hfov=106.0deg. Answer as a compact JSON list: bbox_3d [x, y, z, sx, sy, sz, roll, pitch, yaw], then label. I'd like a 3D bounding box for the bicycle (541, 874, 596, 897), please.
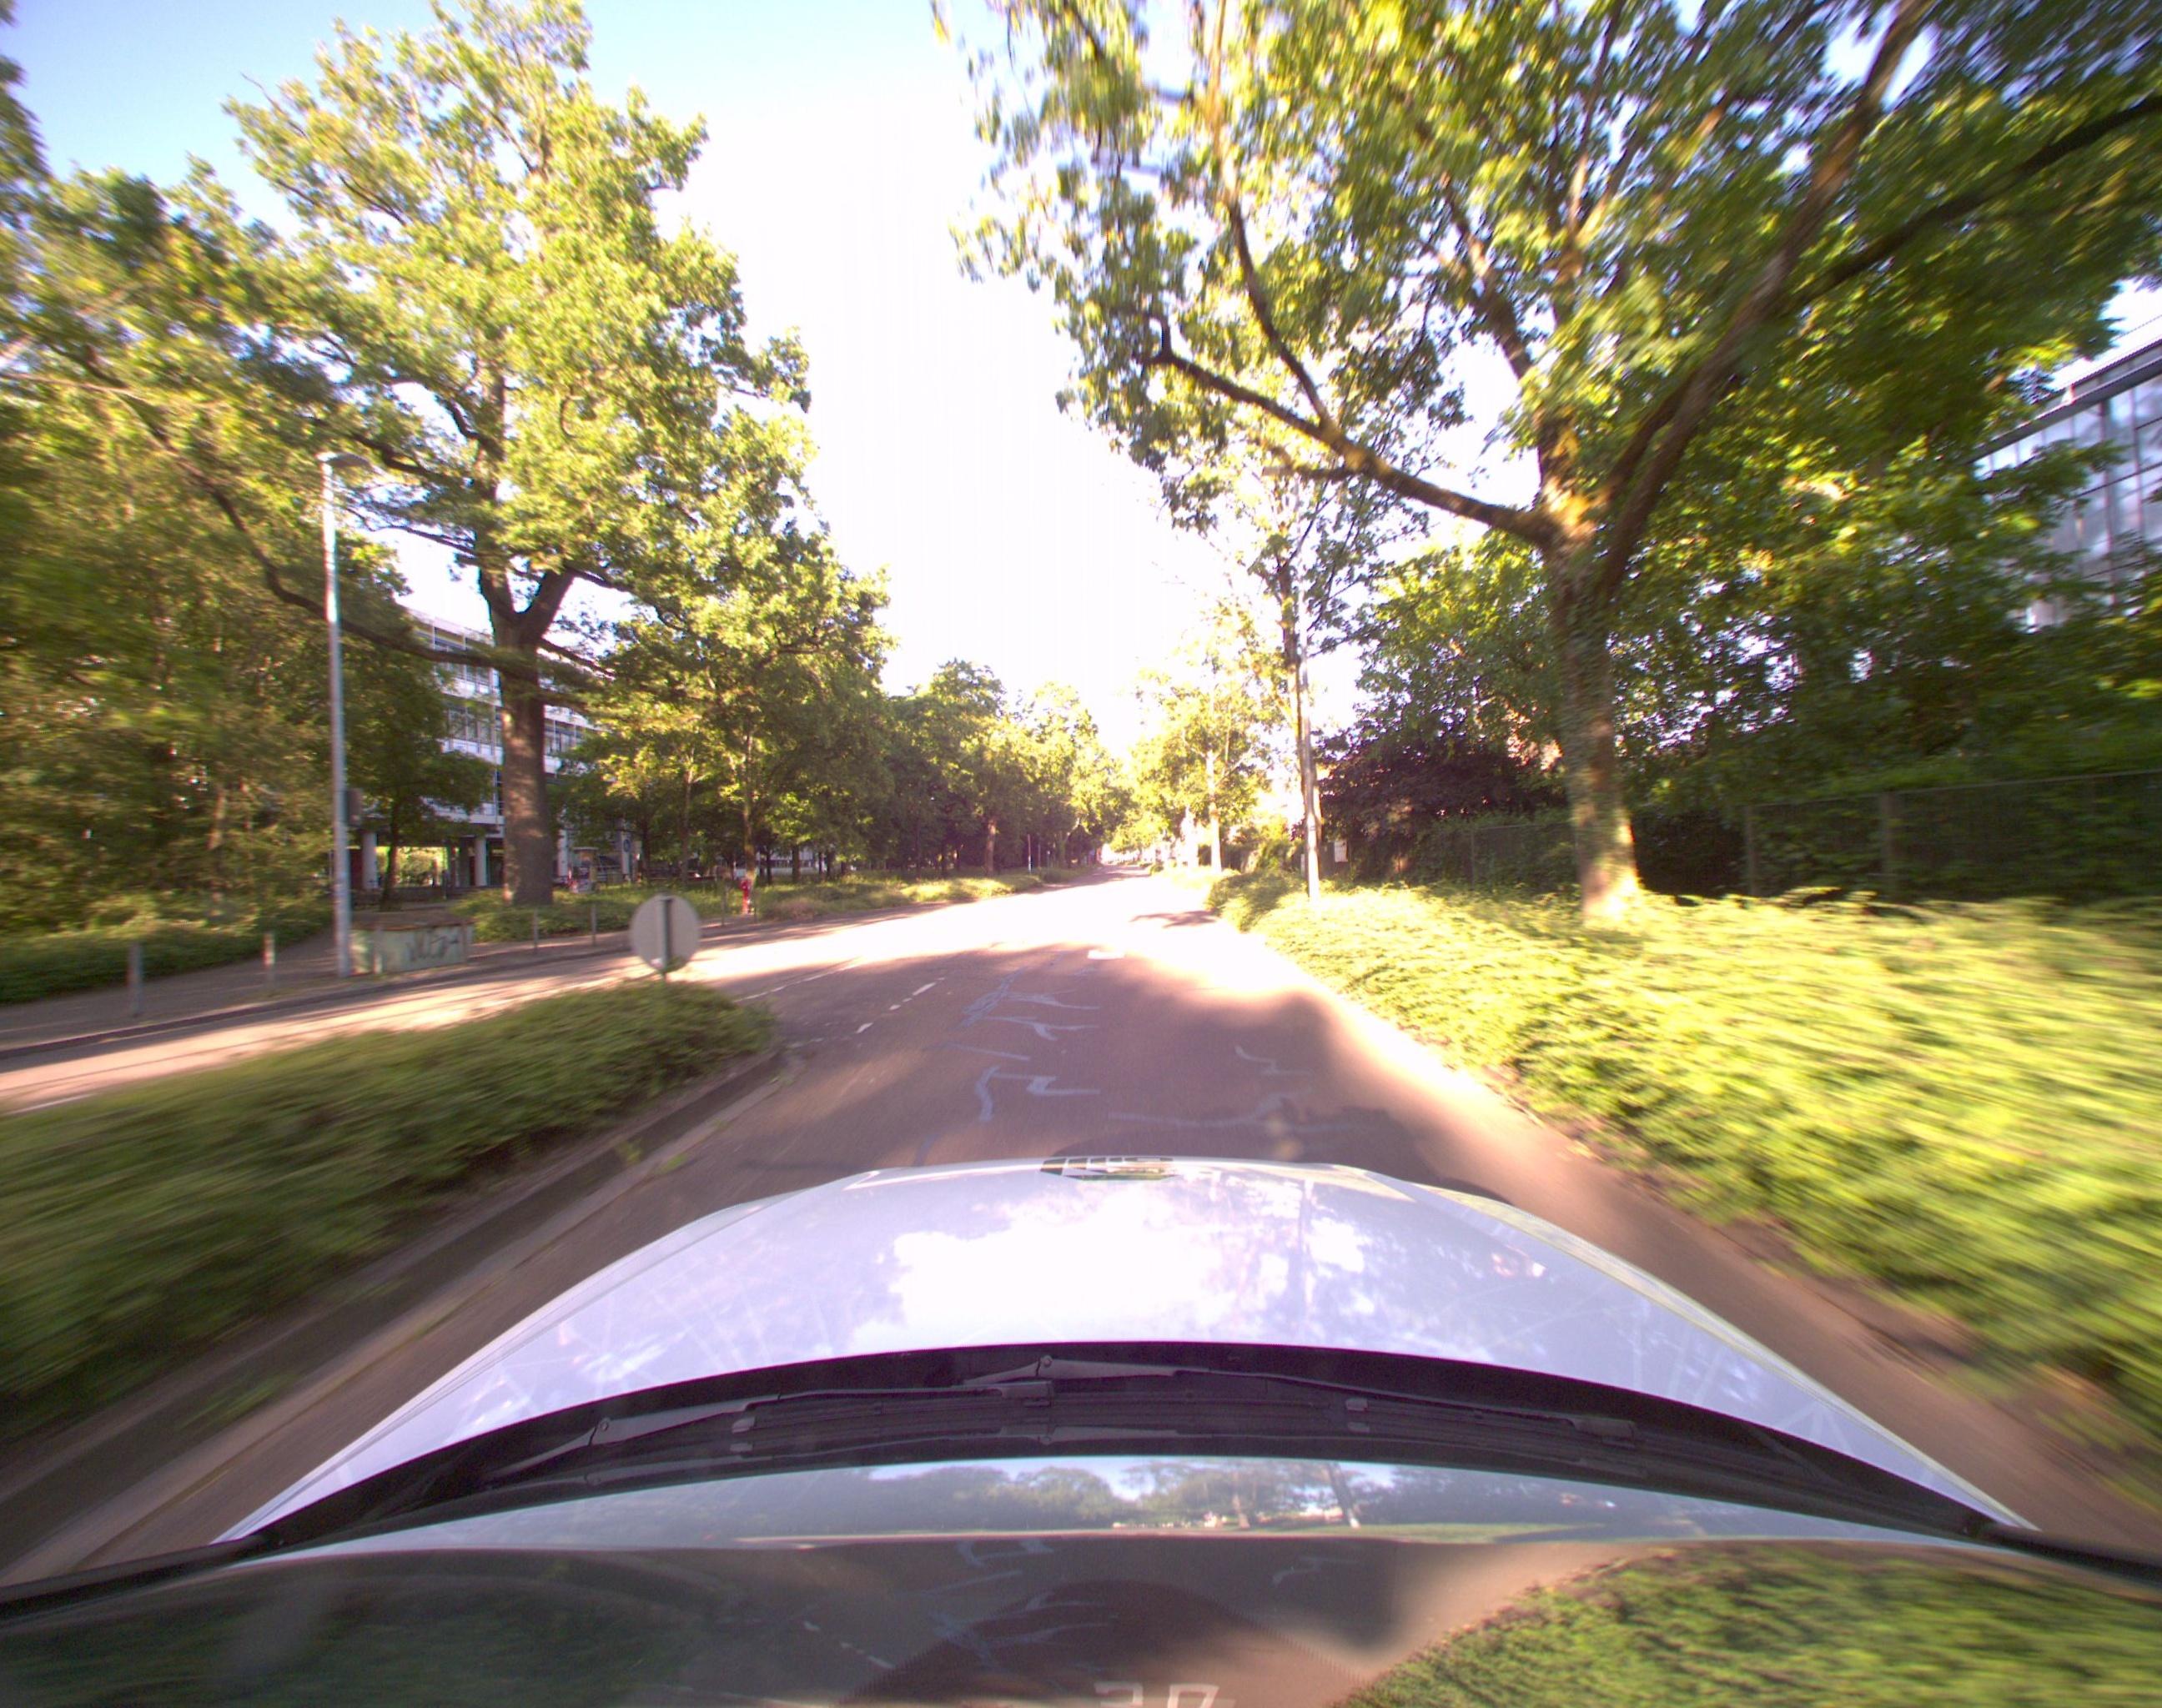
[{"bbox_3d":[-27.125,1.635,43.148,0.531,1.071,2.648,2,1,20],"label":"bicycle"}]

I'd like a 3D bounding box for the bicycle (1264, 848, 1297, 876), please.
[{"bbox_3d":[9.417,0.355,38.353,0.875,1.200,2.340,-4,-1,28],"label":"bicycle"}]

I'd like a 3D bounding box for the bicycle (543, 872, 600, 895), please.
[{"bbox_3d":[-26.176,1.522,41.877,0.530,1.071,2.444,2,2,42],"label":"bicycle"}]
